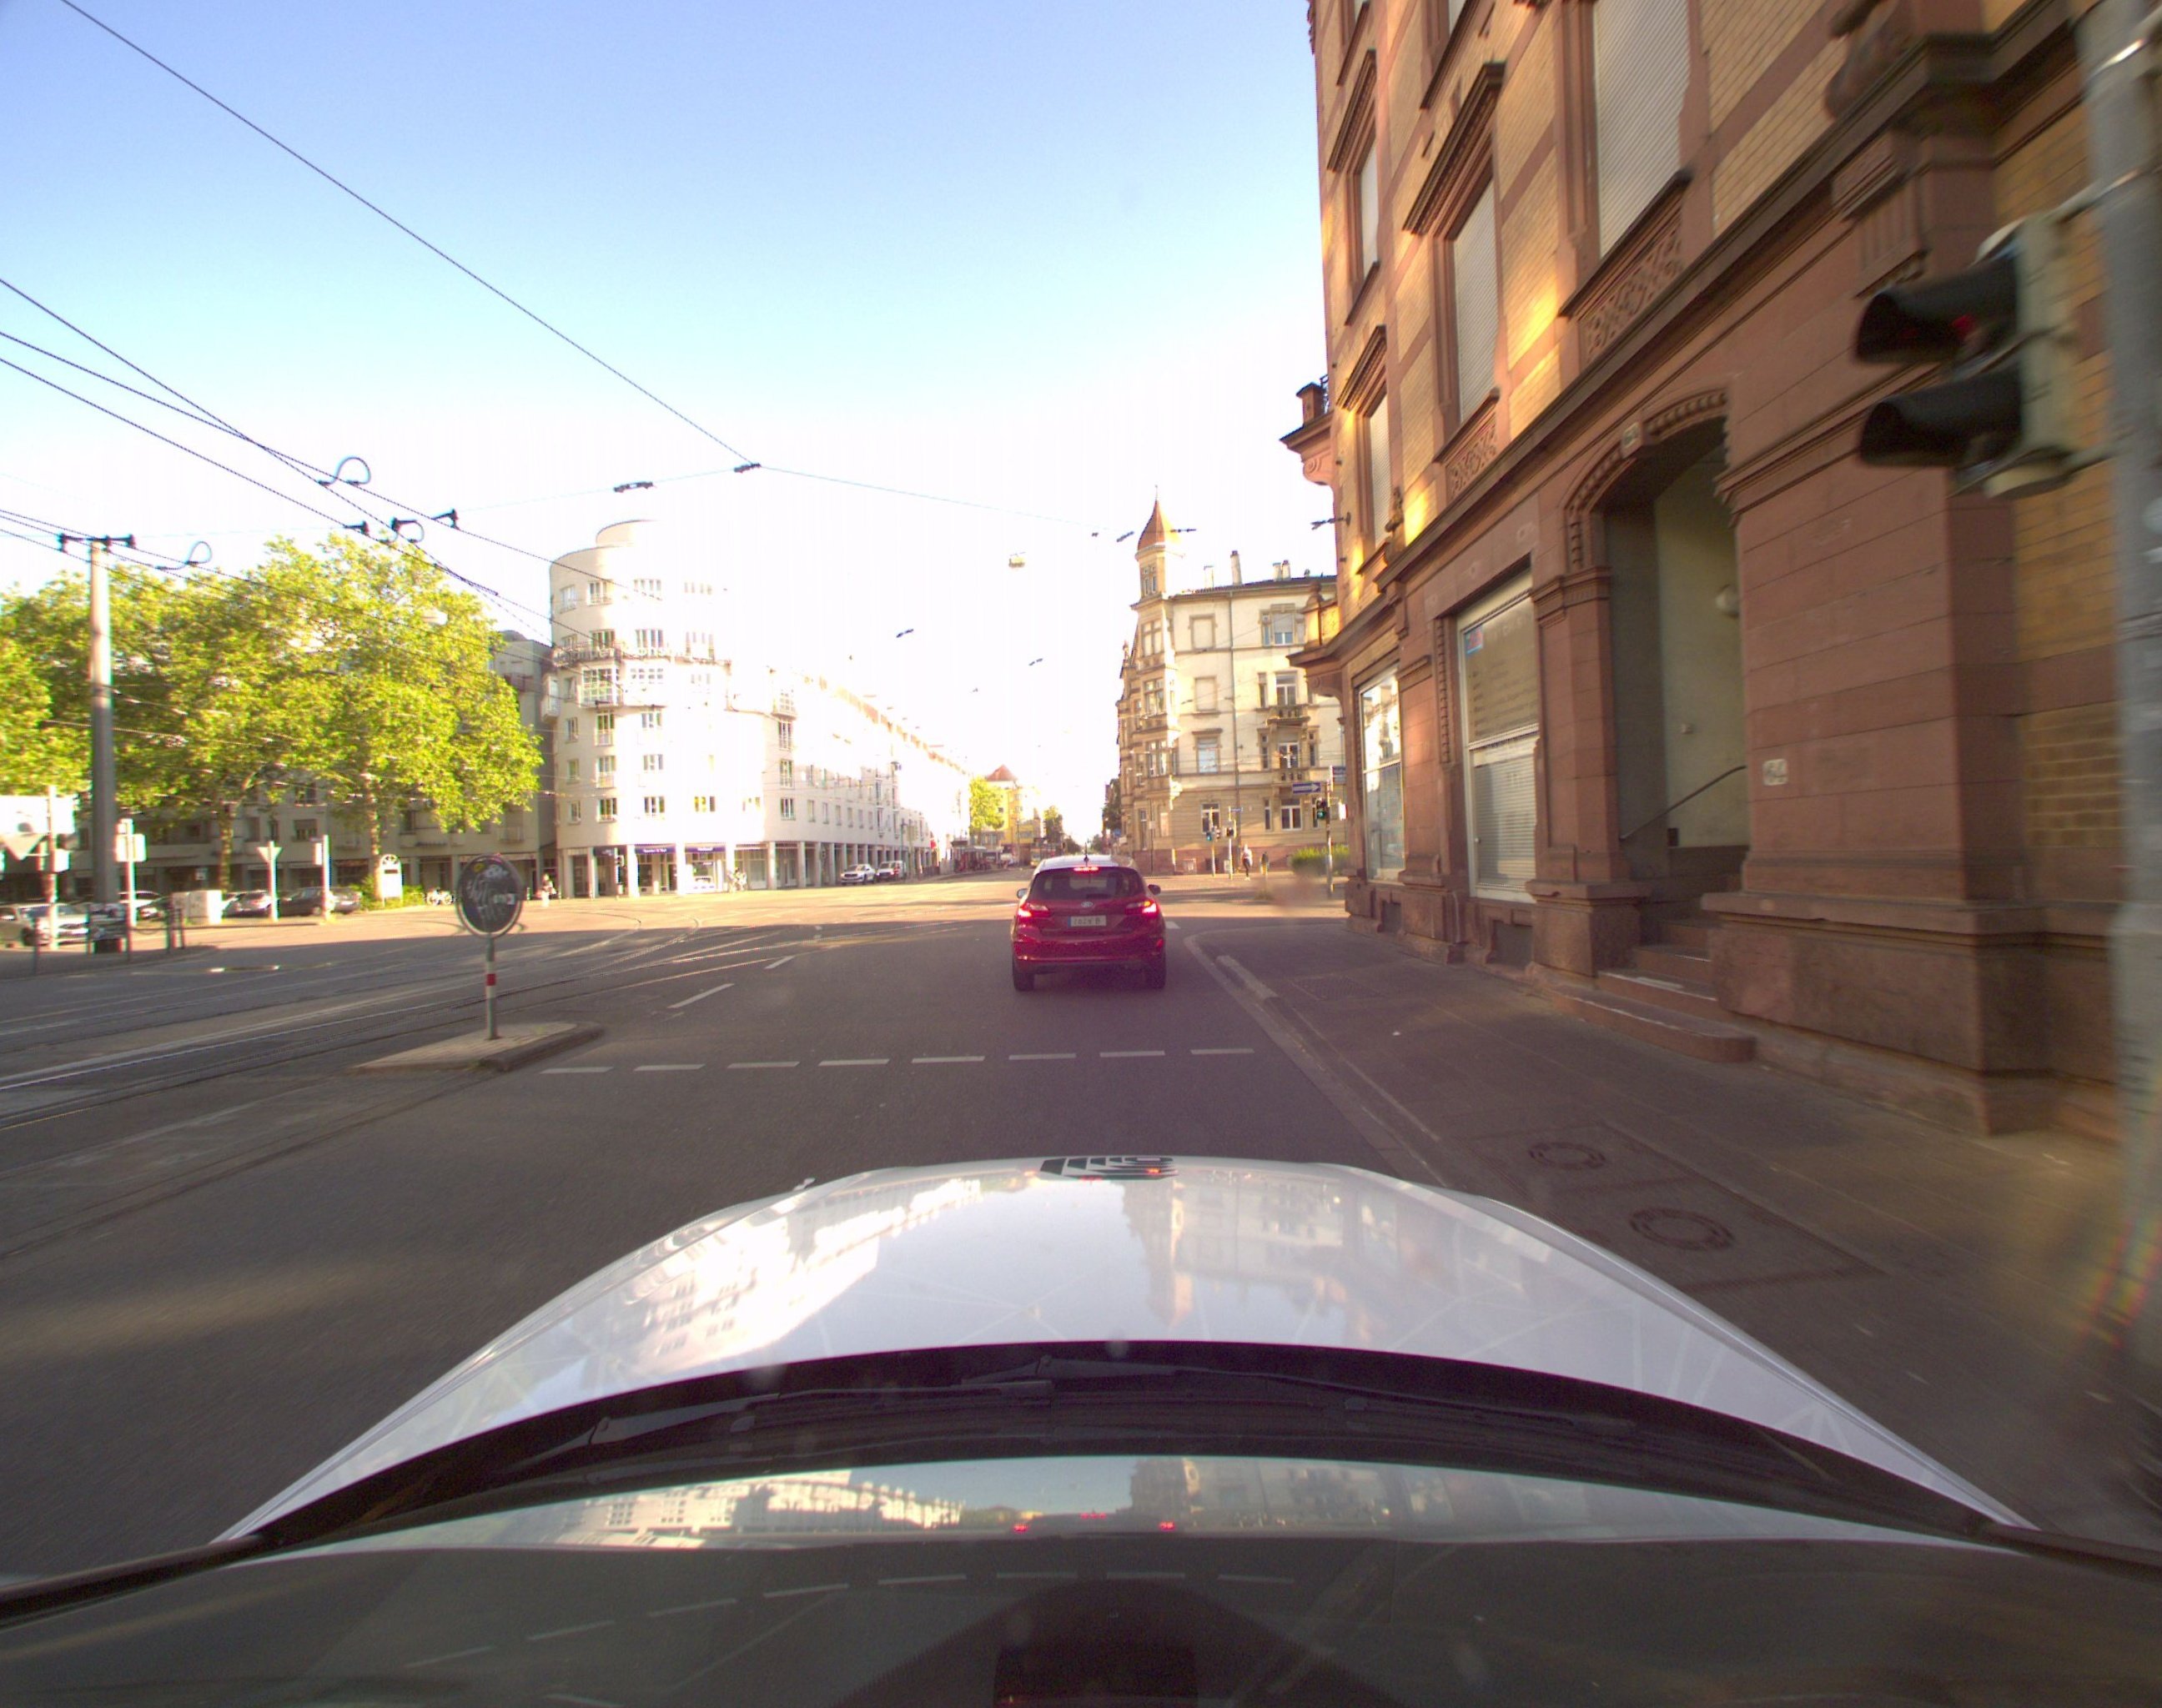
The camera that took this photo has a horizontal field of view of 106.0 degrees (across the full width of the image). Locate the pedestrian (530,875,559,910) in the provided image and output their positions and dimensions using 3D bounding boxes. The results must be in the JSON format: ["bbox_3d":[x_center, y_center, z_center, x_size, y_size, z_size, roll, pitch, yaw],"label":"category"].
[{"bbox_3d":[-27.413,1.971,41.590,0.863,1.681,0.698,-4,1,9],"label":"pedestrian"}]

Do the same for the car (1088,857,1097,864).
[{"bbox_3d":[2.531,1.460,185.821,1.987,1.449,4.001,-2,0,1],"label":"car"}]

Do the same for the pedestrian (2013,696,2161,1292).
[{"bbox_3d":[3.473,0.389,2.269,0.773,1.723,0.754,-4,0,1],"label":"pedestrian"}]

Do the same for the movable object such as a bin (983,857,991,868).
[{"bbox_3d":[-11.483,1.057,99.561,0.934,1.286,0.934,-3,-1,-1],"label":"movable object such as a bin"}]

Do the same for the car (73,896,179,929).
[{"bbox_3d":[-58.705,3.557,50.184,1.789,1.715,3.999,-3,0,0],"label":"car"}]

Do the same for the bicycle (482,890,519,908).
[{"bbox_3d":[-39.751,3.077,55.747,1.932,1.107,0.820,-3,0,5],"label":"bicycle"}]

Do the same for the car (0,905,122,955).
[{"bbox_3d":[-35.417,2.618,27.750,4.406,1.421,1.899,-4,-1,17],"label":"car"}]

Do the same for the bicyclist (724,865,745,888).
[{"bbox_3d":[-23.178,1.531,54.532,0.833,1.467,0.902,-3,0,30],"label":"bicyclist"}]

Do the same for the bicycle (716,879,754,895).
[{"bbox_3d":[-23.151,2.220,54.516,0.833,0.927,2.279,-3,0,30],"label":"bicycle"}]

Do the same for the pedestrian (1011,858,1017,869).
[{"bbox_3d":[-11.983,1.747,145.936,0.880,1.904,0.930,-2,-1,-15],"label":"pedestrian"}]

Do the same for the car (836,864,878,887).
[{"bbox_3d":[-17.757,1.688,64.725,1.987,1.620,4.510,-3,0,0],"label":"car"}]

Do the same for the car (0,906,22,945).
[{"bbox_3d":[-42.056,2.794,30.223,4.406,1.421,1.899,-4,-1,17],"label":"car"}]

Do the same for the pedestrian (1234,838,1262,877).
[{"bbox_3d":[7.928,0.157,38.750,1.020,1.807,1.082,-3,0,-3],"label":"pedestrian"}]

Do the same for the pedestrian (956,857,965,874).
[{"bbox_3d":[-12.317,1.197,83.179,0.756,1.733,0.523,-3,-1,42],"label":"pedestrian"}]

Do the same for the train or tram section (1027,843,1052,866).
[{"bbox_3d":[-6.754,0.116,134.427,2.874,3.490,14.173,-3,0,2],"label":"train or tram section"}]

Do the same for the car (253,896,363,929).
[{"bbox_3d":[-42.791,3.212,45.142,4.420,1.421,1.893,-3,0,4],"label":"car"}]

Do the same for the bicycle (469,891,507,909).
[{"bbox_3d":[-39.854,3.087,54.760,1.932,1.107,0.820,-3,0,5],"label":"bicycle"}]

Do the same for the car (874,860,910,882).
[{"bbox_3d":[-17.558,1.549,75.859,1.987,1.837,5.346,-3,0,0],"label":"car"}]

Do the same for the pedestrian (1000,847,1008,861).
[{"bbox_3d":[-10.661,0.008,112.124,0.880,1.904,0.930,-2,-1,-15],"label":"pedestrian"}]

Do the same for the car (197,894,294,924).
[{"bbox_3d":[-51.536,3.358,50.339,1.789,1.510,3.999,-3,0,0],"label":"car"}]

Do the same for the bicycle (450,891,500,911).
[{"bbox_3d":[-39.498,3.069,53.107,2.439,1.107,0.934,-3,0,-13],"label":"bicycle"}]

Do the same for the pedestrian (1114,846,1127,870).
[{"bbox_3d":[2.938,0.284,60.596,0.791,1.721,0.720,-4,-1,3],"label":"pedestrian"}]

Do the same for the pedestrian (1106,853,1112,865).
[{"bbox_3d":[4.277,0.782,125.249,0.711,1.774,0.772,-6,1,-2],"label":"pedestrian"}]

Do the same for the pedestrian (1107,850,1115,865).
[{"bbox_3d":[3.310,0.368,90.976,0.760,1.645,0.832,-4,0,0],"label":"pedestrian"}]

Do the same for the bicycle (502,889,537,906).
[{"bbox_3d":[-39.882,3.071,57.847,1.934,1.107,0.820,-3,0,3],"label":"bicycle"}]

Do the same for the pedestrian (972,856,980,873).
[{"bbox_3d":[-11.838,1.218,91.887,0.694,1.904,0.672,-3,-1,-2],"label":"pedestrian"}]

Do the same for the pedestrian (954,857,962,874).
[{"bbox_3d":[-12.263,1.176,81.122,0.596,1.691,0.613,-3,-1,1],"label":"pedestrian"}]

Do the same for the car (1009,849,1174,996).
[{"bbox_3d":[0.183,0.705,10.187,1.685,1.495,3.582,-1,0,2],"label":"car"}]

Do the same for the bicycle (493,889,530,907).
[{"bbox_3d":[-39.830,3.073,56.979,1.934,1.107,0.820,-3,0,3],"label":"bicycle"}]

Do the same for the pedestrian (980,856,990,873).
[{"bbox_3d":[-11.022,1.215,93.291,0.929,1.904,0.880,-3,-1,-2],"label":"pedestrian"}]

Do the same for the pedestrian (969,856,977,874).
[{"bbox_3d":[-12.068,1.215,91.189,0.694,1.904,0.672,-3,-1,-2],"label":"pedestrian"}]

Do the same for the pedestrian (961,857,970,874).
[{"bbox_3d":[-12.395,1.237,87.166,0.698,1.691,0.667,-2,-1,-23],"label":"pedestrian"}]

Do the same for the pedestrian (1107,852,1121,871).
[{"bbox_3d":[2.421,0.526,60.072,0.794,1.331,0.717,-4,-1,-9],"label":"pedestrian"}]

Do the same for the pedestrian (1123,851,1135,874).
[{"bbox_3d":[3.867,0.673,66.232,0.798,1.824,0.797,-4,0,0],"label":"pedestrian"}]

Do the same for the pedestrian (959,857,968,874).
[{"bbox_3d":[-12.290,1.218,85.417,0.698,1.691,0.667,-2,-1,-23],"label":"pedestrian"}]
